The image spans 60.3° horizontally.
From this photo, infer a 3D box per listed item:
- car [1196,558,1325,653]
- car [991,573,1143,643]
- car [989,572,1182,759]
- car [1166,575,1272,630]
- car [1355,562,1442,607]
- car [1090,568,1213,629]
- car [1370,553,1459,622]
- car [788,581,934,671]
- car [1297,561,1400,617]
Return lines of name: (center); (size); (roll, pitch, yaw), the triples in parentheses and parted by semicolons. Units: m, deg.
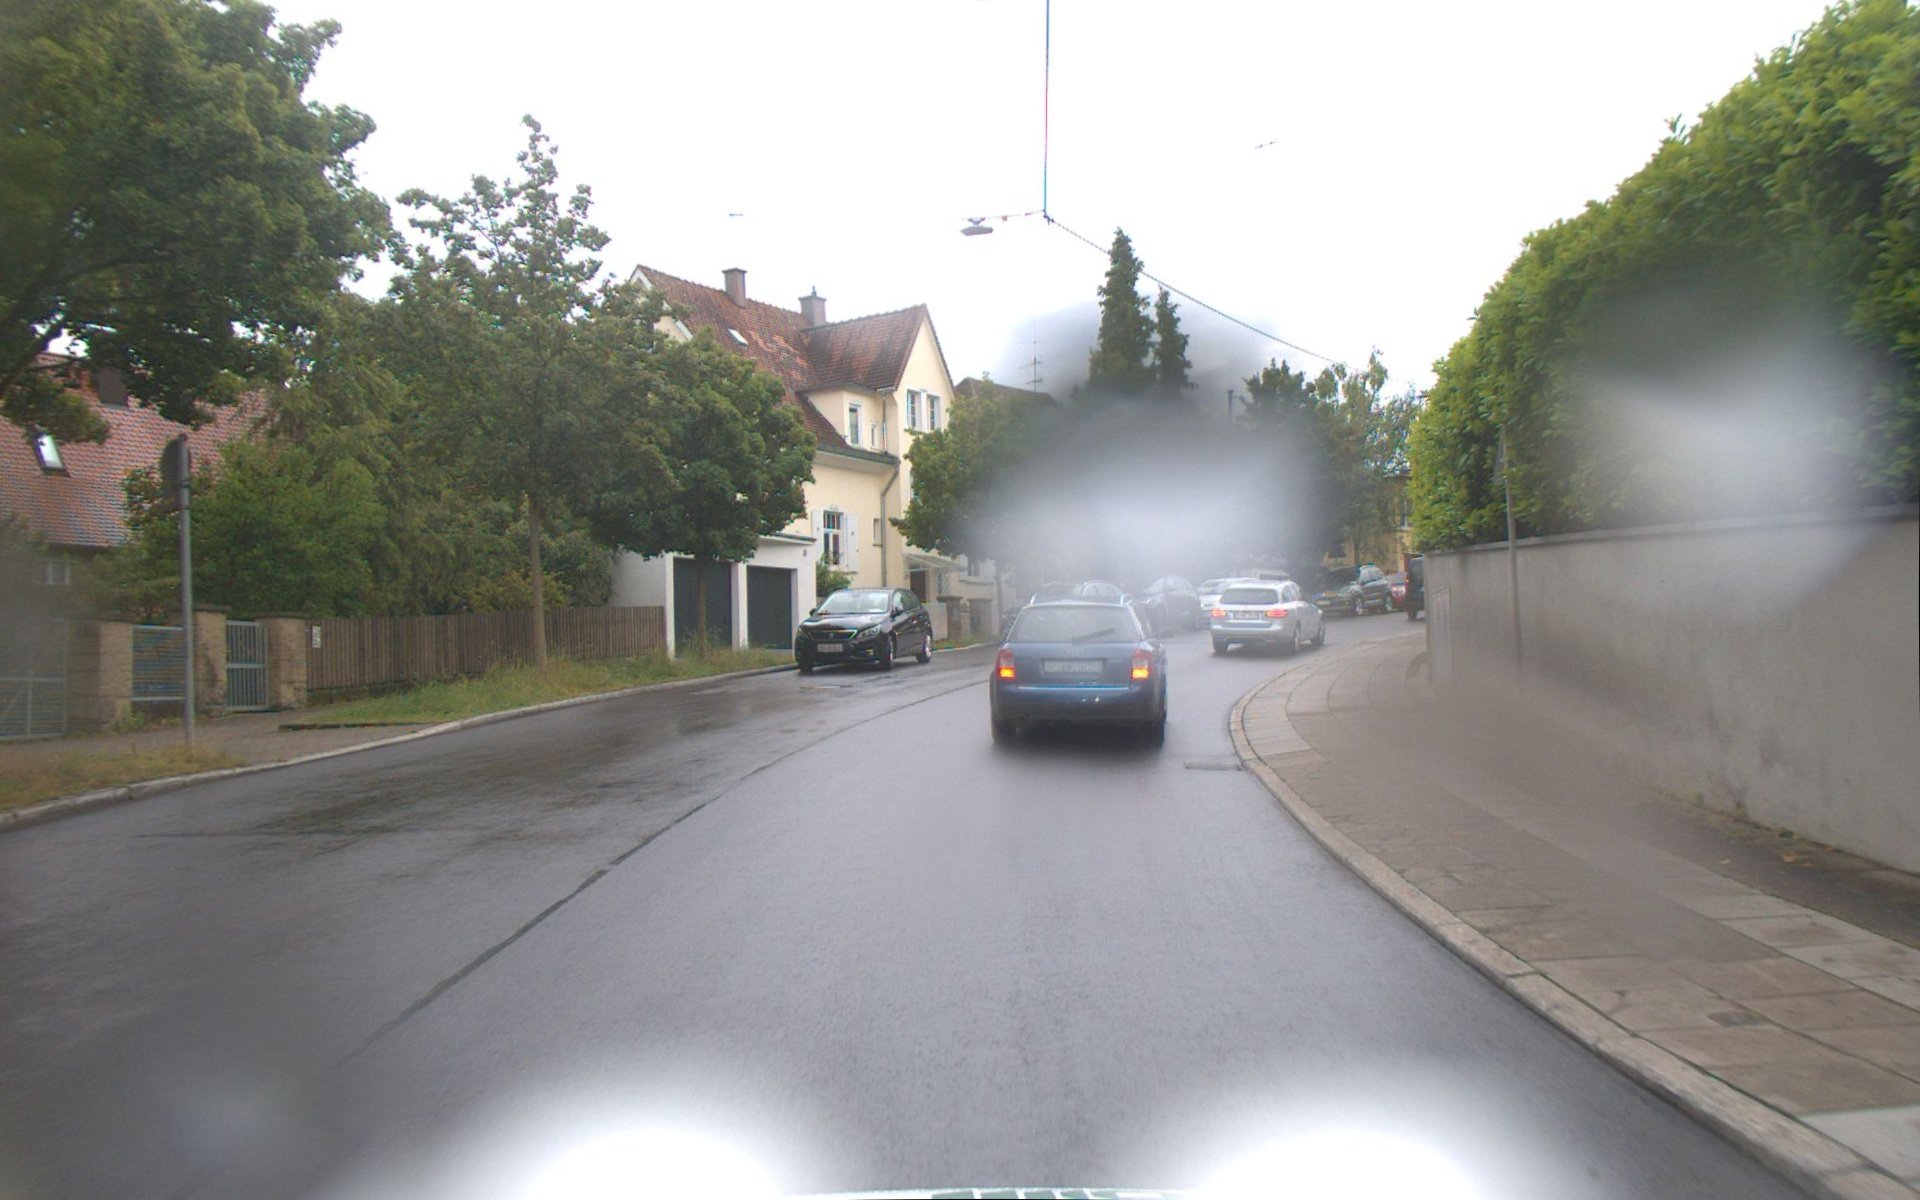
car: (6.493, 0.073, 35.336); (1.934, 1.663, 4.237); (-2, 3, 21)
car: (2.768, 0.166, 41.615); (1.832, 1.572, 4.896); (-2, 0, 30)
car: (1.394, 0.578, 17.223); (1.697, 1.491, 4.004); (-3, 3, 7)
car: (7.900, 0.063, 50.116); (1.702, 1.492, 3.990); (-2, 1, 32)
car: (16.386, -0.592, 61.669); (1.655, 1.497, 3.847); (-4, -1, 39)
car: (5.355, -0.061, 45.892); (1.702, 1.572, 4.199); (-2, 0, 32)
car: (14.136, -0.417, 51.301); (1.700, 1.799, 4.231); (-2, 3, 28)
car: (-1.776, 0.432, 30.862); (1.634, 1.491, 3.898); (-3, 0, 13)
car: (13.518, -0.402, 57.397); (1.771, 1.698, 4.409); (-4, -1, 37)
